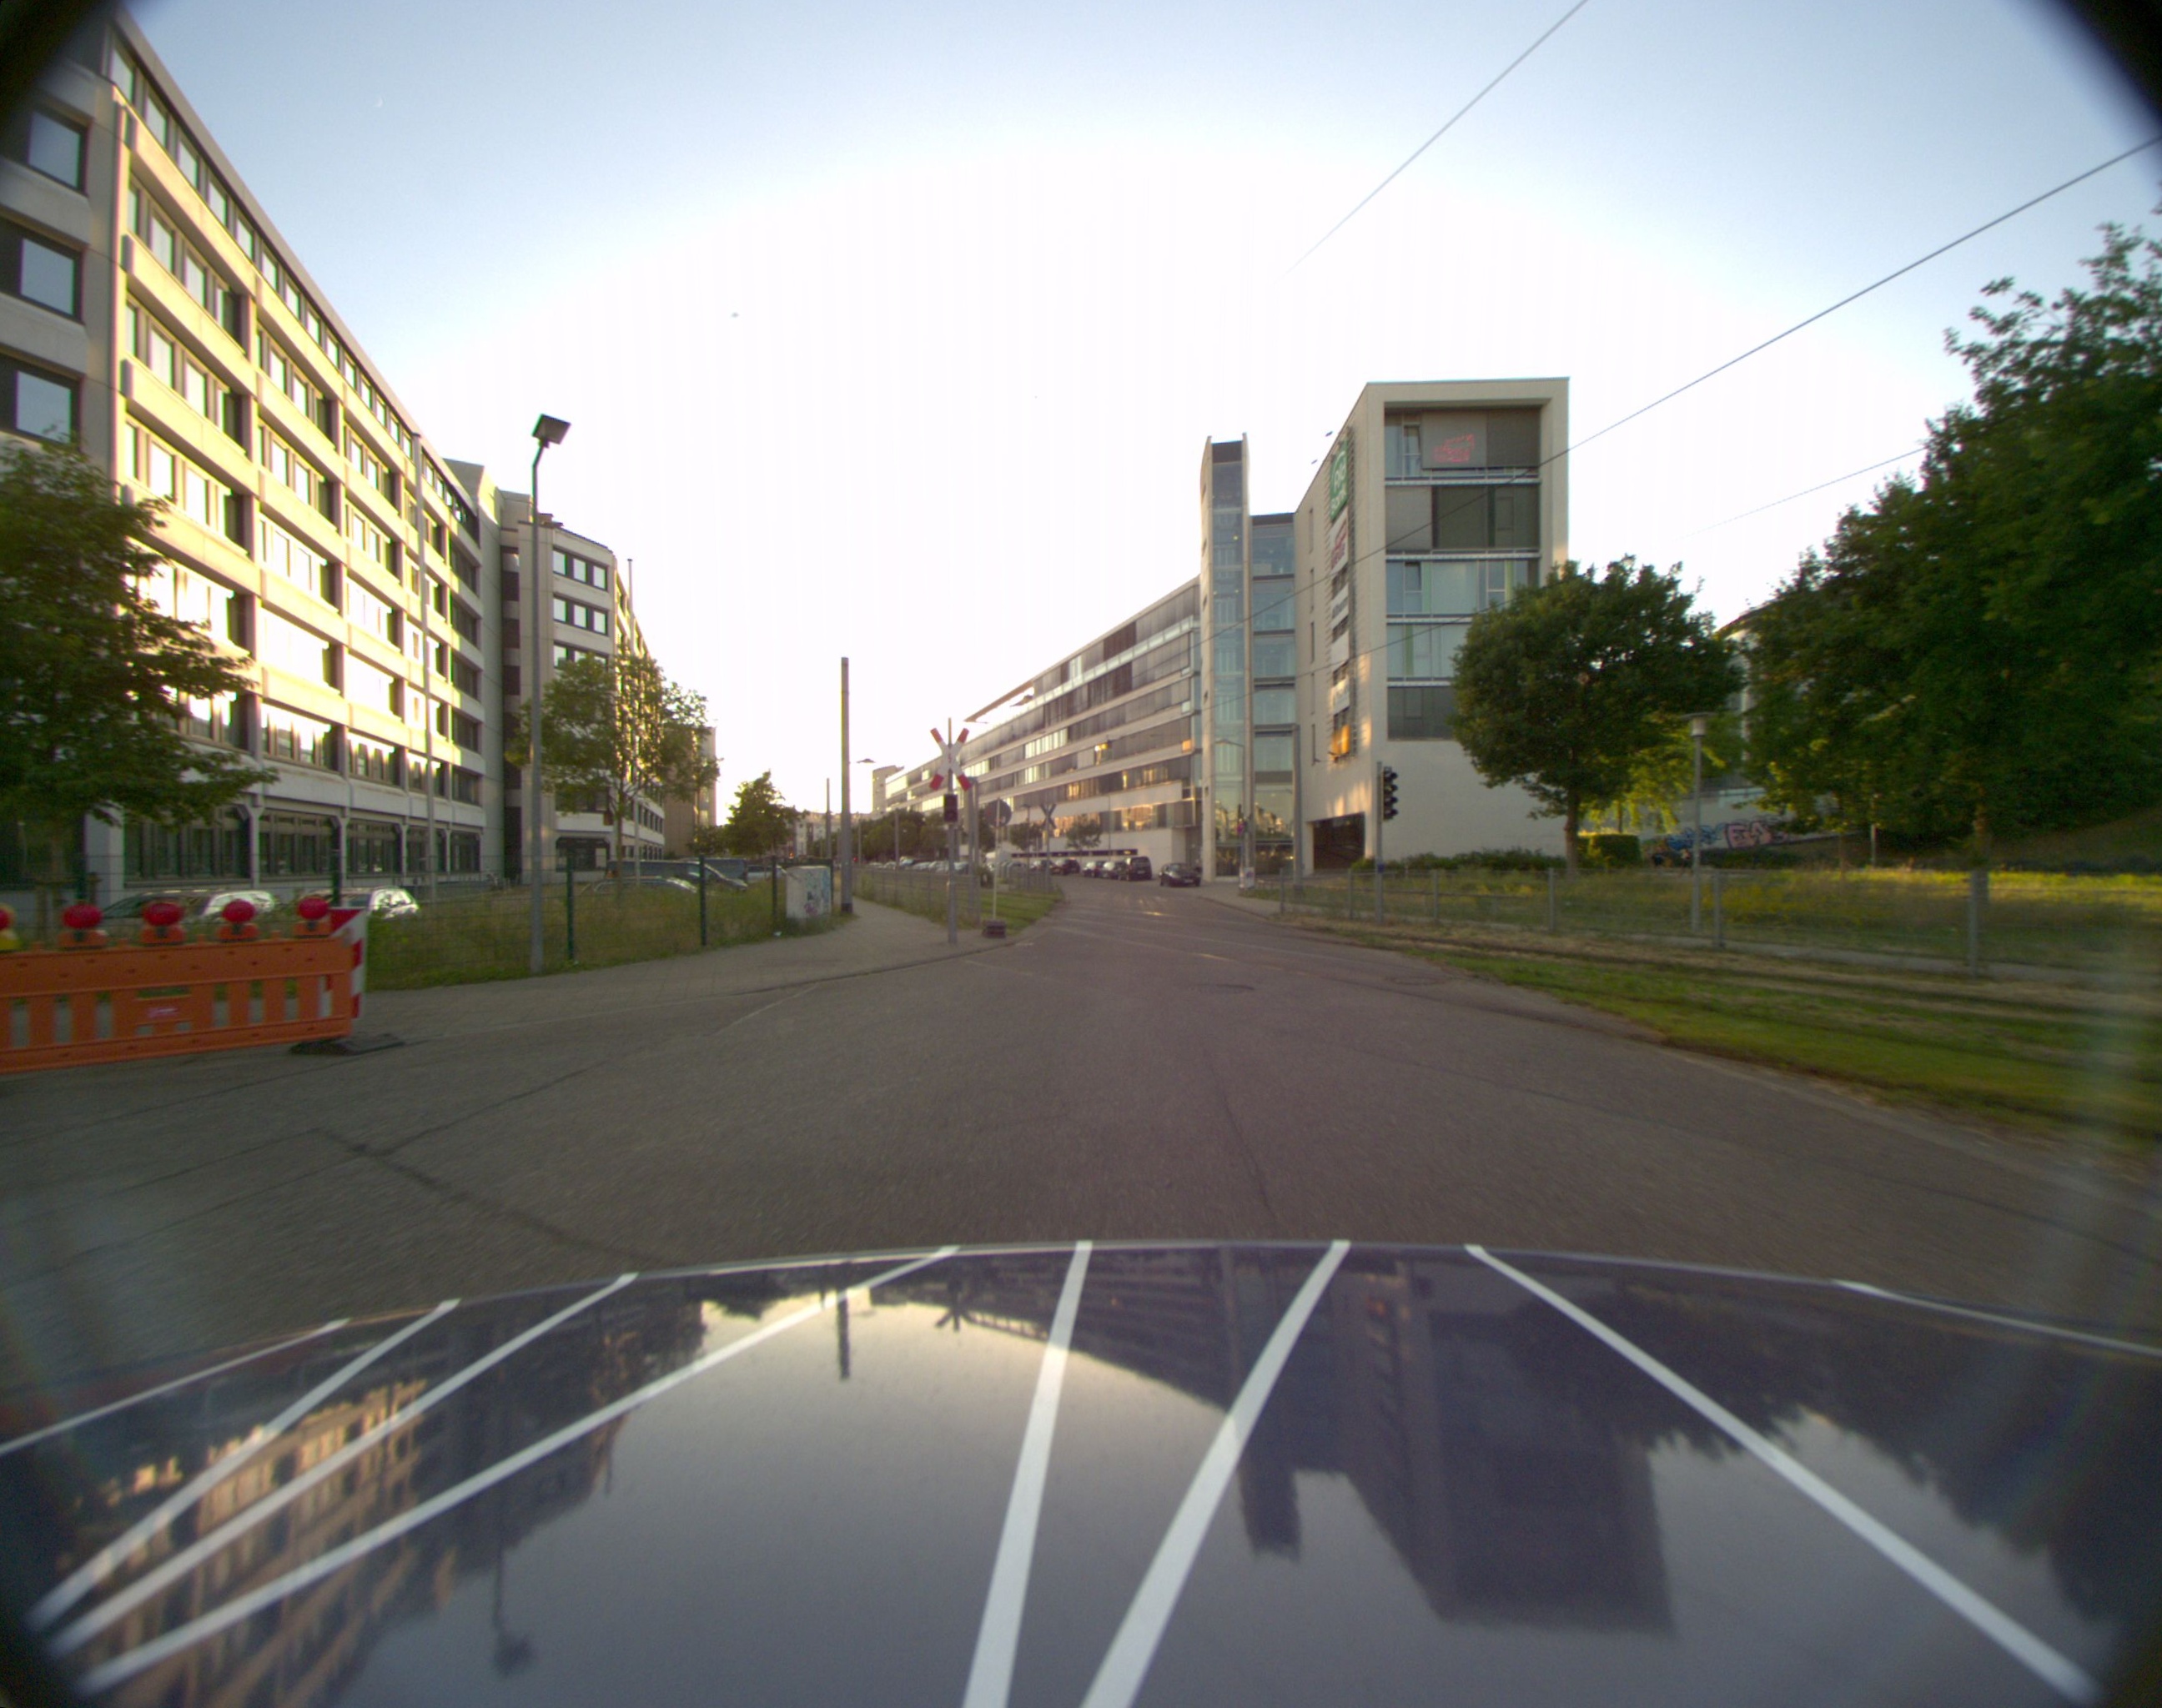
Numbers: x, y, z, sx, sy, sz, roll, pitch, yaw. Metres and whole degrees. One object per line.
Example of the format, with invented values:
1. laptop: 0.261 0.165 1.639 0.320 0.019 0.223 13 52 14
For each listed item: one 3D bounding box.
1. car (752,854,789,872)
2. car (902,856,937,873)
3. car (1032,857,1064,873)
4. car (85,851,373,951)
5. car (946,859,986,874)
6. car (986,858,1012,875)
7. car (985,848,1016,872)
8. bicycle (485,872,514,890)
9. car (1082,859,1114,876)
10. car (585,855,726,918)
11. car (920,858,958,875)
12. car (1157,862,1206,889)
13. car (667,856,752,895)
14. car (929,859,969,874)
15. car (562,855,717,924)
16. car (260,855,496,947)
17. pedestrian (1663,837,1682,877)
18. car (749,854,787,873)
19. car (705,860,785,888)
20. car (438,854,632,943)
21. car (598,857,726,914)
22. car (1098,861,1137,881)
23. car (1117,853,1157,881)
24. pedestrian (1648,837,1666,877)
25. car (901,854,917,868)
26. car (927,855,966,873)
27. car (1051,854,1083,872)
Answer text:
1. car: -37.275 1.078 91.156 4.005 2.002 1.996 -1 0 -26
2. car: -19.315 1.203 90.884 1.713 1.947 4.181 -1 0 30
3. car: -3.556 1.174 80.990 1.800 1.542 3.991 -3 1 -27
4. car: -19.031 0.958 17.308 1.998 2.002 4.000 -1 0 0
5. car: -10.808 1.180 71.626 1.713 1.368 4.007 -1 0 28
6. car: -7.359 1.095 67.934 1.633 1.503 3.412 0 0 -18
7. car: -10.034 0.774 93.900 2.008 2.858 6.243 1 -1 -23
8. bicycle: -32.816 1.525 42.894 0.816 0.944 2.210 0 0 -25
9. car: 1.461 1.187 66.733 1.654 1.468 3.760 0 0 -18
10. car: -14.744 1.077 26.590 4.004 2.002 1.996 -1 0 -21
11. car: -14.842 1.319 79.769 1.713 1.634 4.008 -1 0 30
12. car: 6.039 1.277 46.038 1.858 1.433 4.225 -3 0 -8
13. car: -20.054 1.122 41.250 4.004 2.002 1.996 -1 0 -23
14. car: -12.881 1.170 74.311 1.713 1.368 4.007 -1 0 28
15. car: -13.983 1.062 24.346 4.004 2.002 1.996 -1 0 -21
16. car: -16.910 1.038 18.608 1.998 2.002 4.000 -1 0 0
17. pedestrian: 27.259 0.134 34.999 0.438 1.826 0.483 -3 1 -19
18. car: -36.343 1.090 88.228 4.005 2.002 1.996 -1 0 -26
19. car: -20.850 1.215 47.272 4.411 1.584 1.814 -1 0 -23
20. car: -13.607 1.028 19.294 1.998 2.002 4.000 -1 0 0
21. car: -15.759 1.135 28.835 4.004 2.002 1.996 -1 0 -21
22. car: 2.937 1.329 62.042 1.867 1.468 4.514 -3 0 -15
23. car: 4.149 0.961 57.063 1.895 1.961 4.514 -3 0 -9
24. pedestrian: 26.808 0.156 35.366 0.450 1.826 0.483 -3 1 -19
25. car: -31.922 1.265 140.750 2.003 2.570 3.992 -1 0 -26
26. car: -13.682 1.046 77.444 1.713 1.746 4.008 -1 0 30
27. car: -1.411 0.902 74.988 1.799 1.676 3.992 -1 0 -22
